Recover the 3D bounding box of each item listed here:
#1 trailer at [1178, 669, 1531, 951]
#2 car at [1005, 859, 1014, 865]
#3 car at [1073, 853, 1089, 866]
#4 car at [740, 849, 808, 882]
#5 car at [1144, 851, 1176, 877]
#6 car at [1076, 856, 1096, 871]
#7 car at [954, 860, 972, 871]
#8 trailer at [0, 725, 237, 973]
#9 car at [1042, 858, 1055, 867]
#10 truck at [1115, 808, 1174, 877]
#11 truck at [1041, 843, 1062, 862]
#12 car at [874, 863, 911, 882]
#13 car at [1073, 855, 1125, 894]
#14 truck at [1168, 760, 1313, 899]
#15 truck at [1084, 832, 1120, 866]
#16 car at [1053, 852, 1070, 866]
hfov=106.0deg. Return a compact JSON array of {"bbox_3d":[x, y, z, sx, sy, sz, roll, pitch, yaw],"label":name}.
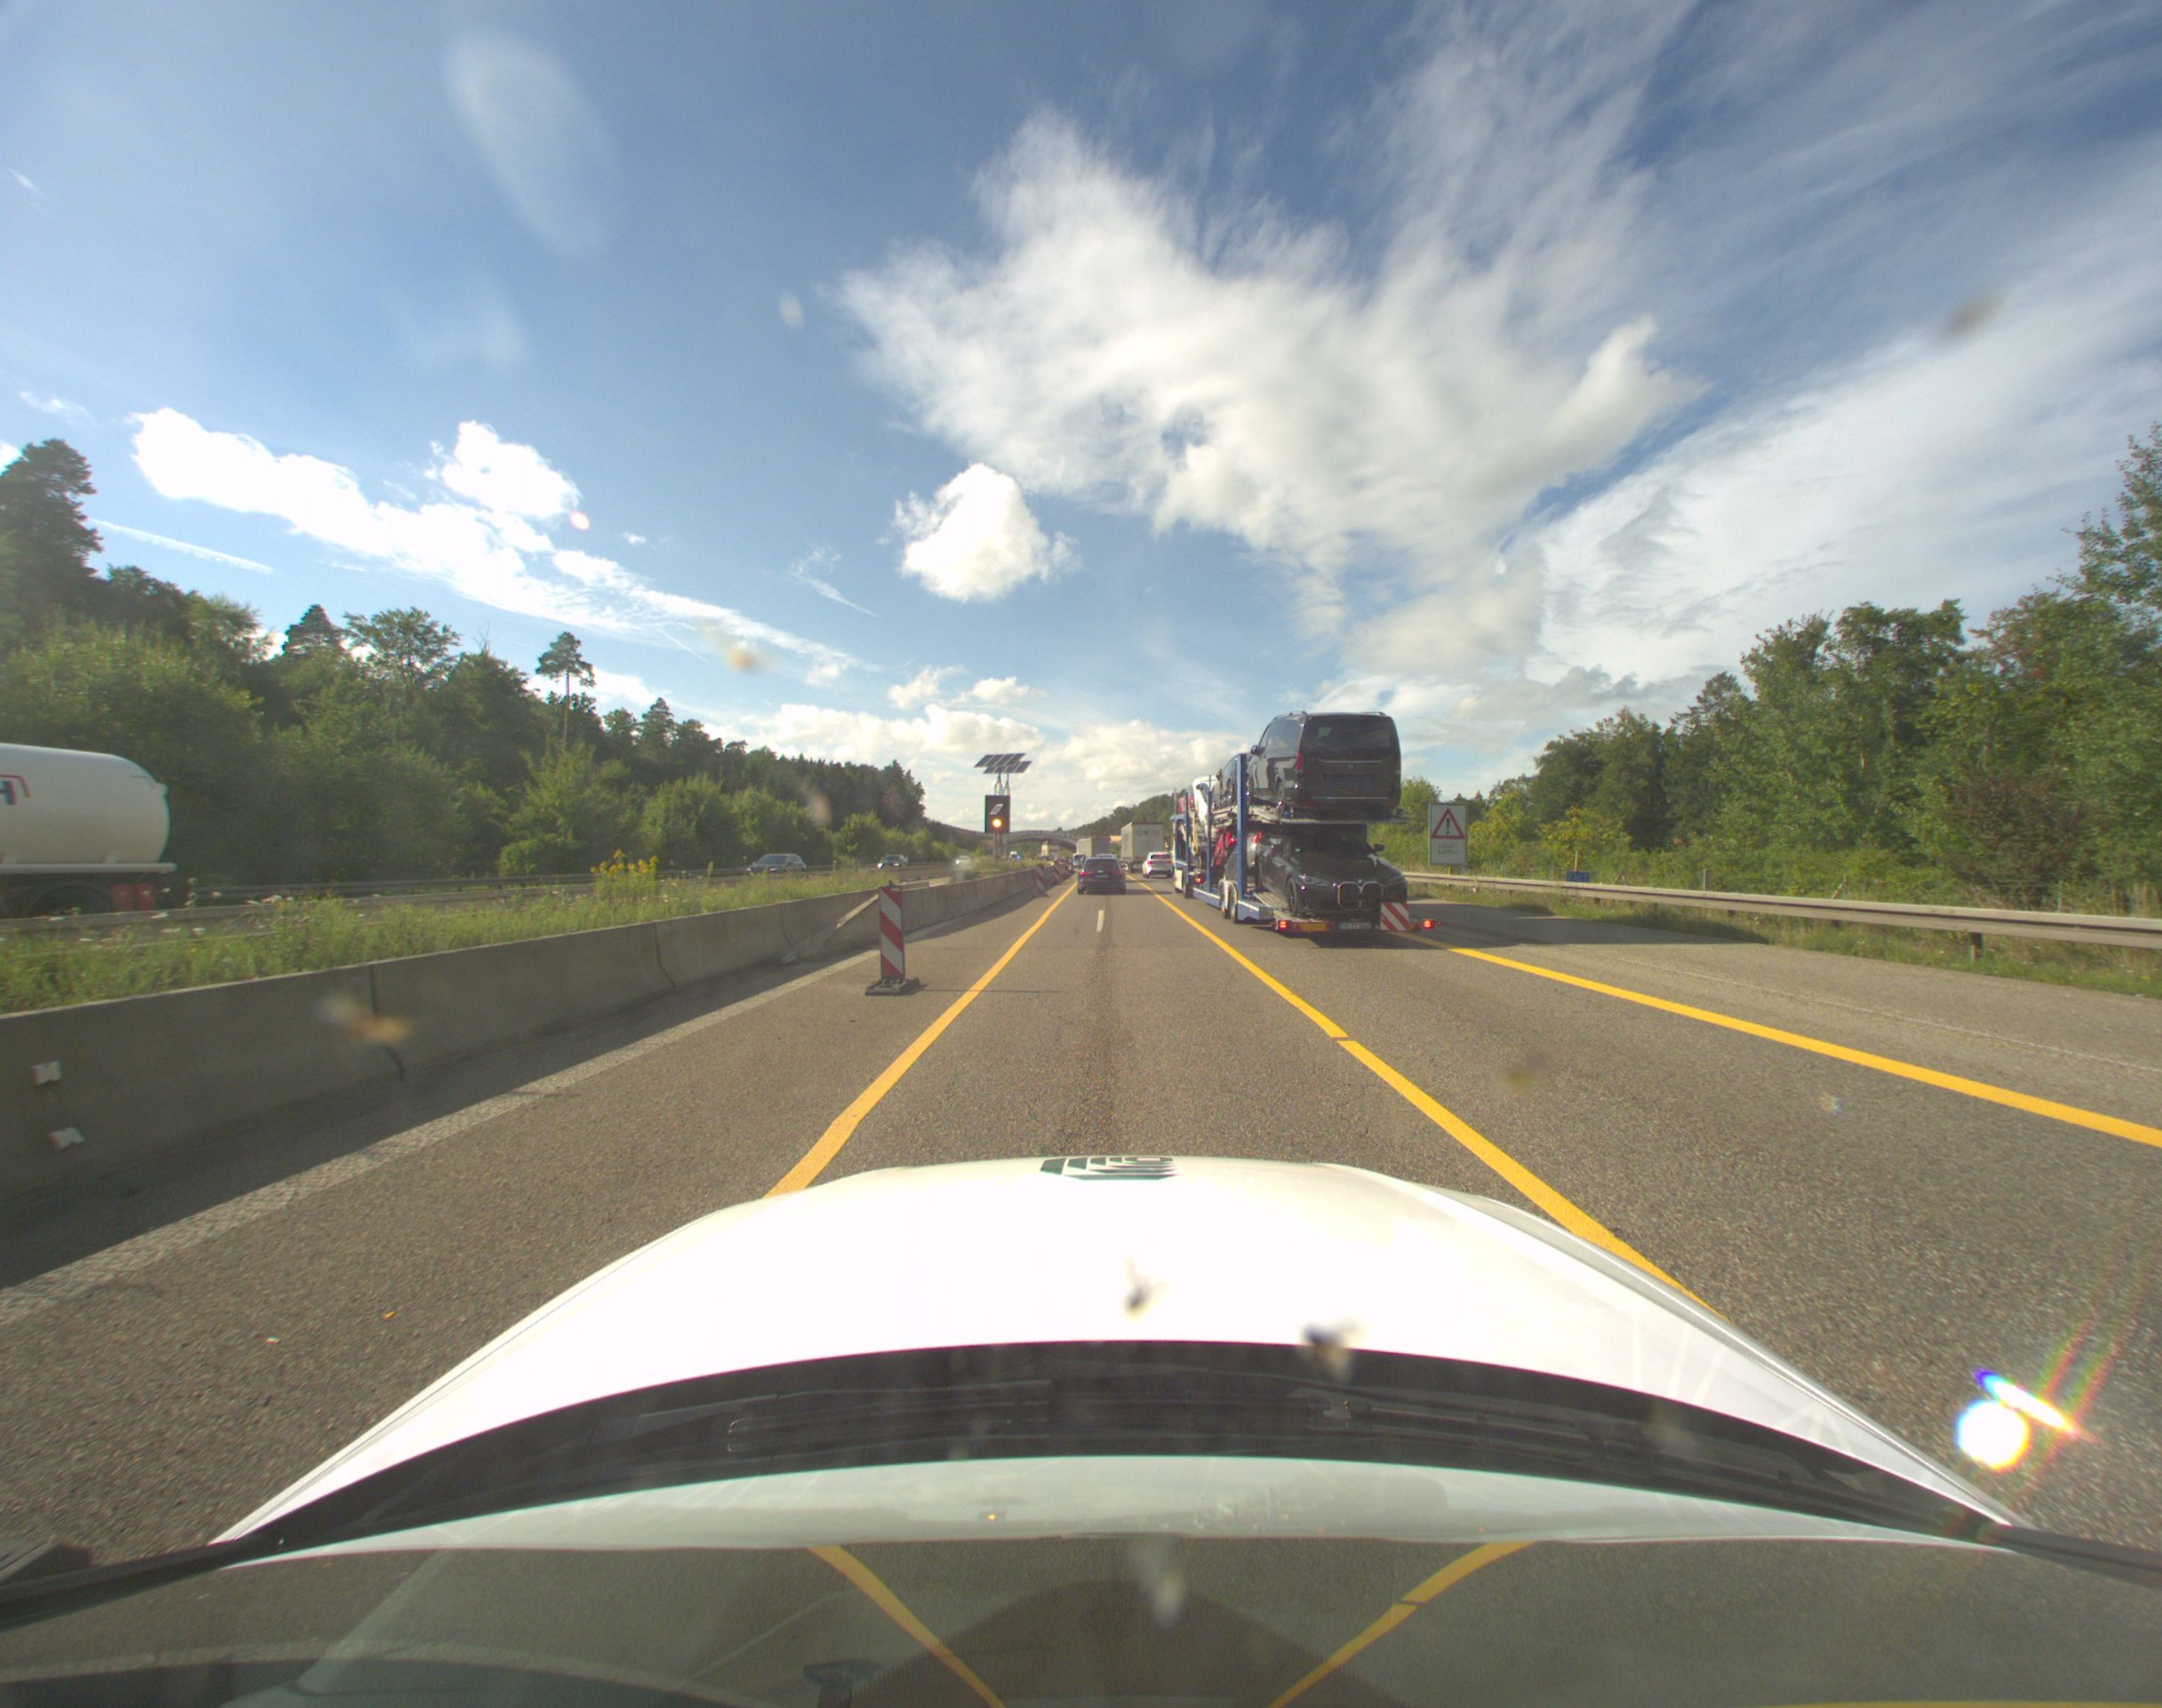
[{"bbox_3d":[5.049,-0.627,20.279,3.712,4.196,16.231,0,0,1],"label":"trailer"},{"bbox_3d":[-18.317,2.039,208.558,1.772,1.602,4.017,0,0,0],"label":"car"},{"bbox_3d":[-0.050,0.738,103.683,1.886,1.643,4.013,0,0,-3],"label":"car"},{"bbox_3d":[-15.776,0.582,42.098,1.770,1.602,4.021,0,0,3],"label":"car"},{"bbox_3d":[5.070,0.622,52.525,1.882,1.643,4.021,0,0,3],"label":"car"},{"bbox_3d":[0.531,1.009,89.767,1.886,1.643,4.013,0,0,-3],"label":"car"},{"bbox_3d":[-16.667,1.614,115.530,1.770,1.602,4.021,0,0,3],"label":"car"},{"bbox_3d":[-16.737,-0.076,9.003,2.790,3.489,11.121,0,0,3],"label":"trailer"},{"bbox_3d":[-5.689,1.511,142.795,1.779,1.602,4.003,0,0,-11],"label":"car"},{"bbox_3d":[5.310,-0.862,72.167,3.667,5.353,16.192,0,0,-1],"label":"truck"},{"bbox_3d":[-6.323,-0.352,173.286,3.650,3.928,11.040,0,0,-7],"label":"truck"},{"bbox_3d":[-15.935,1.544,68.954,1.951,1.588,4.484,0,0,2],"label":"car"},{"bbox_3d":[0.764,0.764,32.193,1.882,1.446,4.003,0,0,3],"label":"car"},{"bbox_3d":[5.283,-0.731,28.788,3.747,4.196,7.953,0,0,1],"label":"truck"},{"bbox_3d":[2.963,-0.644,117.897,4.310,4.600,11.111,0,0,-3],"label":"truck"},{"bbox_3d":[-2.931,0.762,121.234,1.992,2.014,3.989,0,0,-8],"label":"car"}]
